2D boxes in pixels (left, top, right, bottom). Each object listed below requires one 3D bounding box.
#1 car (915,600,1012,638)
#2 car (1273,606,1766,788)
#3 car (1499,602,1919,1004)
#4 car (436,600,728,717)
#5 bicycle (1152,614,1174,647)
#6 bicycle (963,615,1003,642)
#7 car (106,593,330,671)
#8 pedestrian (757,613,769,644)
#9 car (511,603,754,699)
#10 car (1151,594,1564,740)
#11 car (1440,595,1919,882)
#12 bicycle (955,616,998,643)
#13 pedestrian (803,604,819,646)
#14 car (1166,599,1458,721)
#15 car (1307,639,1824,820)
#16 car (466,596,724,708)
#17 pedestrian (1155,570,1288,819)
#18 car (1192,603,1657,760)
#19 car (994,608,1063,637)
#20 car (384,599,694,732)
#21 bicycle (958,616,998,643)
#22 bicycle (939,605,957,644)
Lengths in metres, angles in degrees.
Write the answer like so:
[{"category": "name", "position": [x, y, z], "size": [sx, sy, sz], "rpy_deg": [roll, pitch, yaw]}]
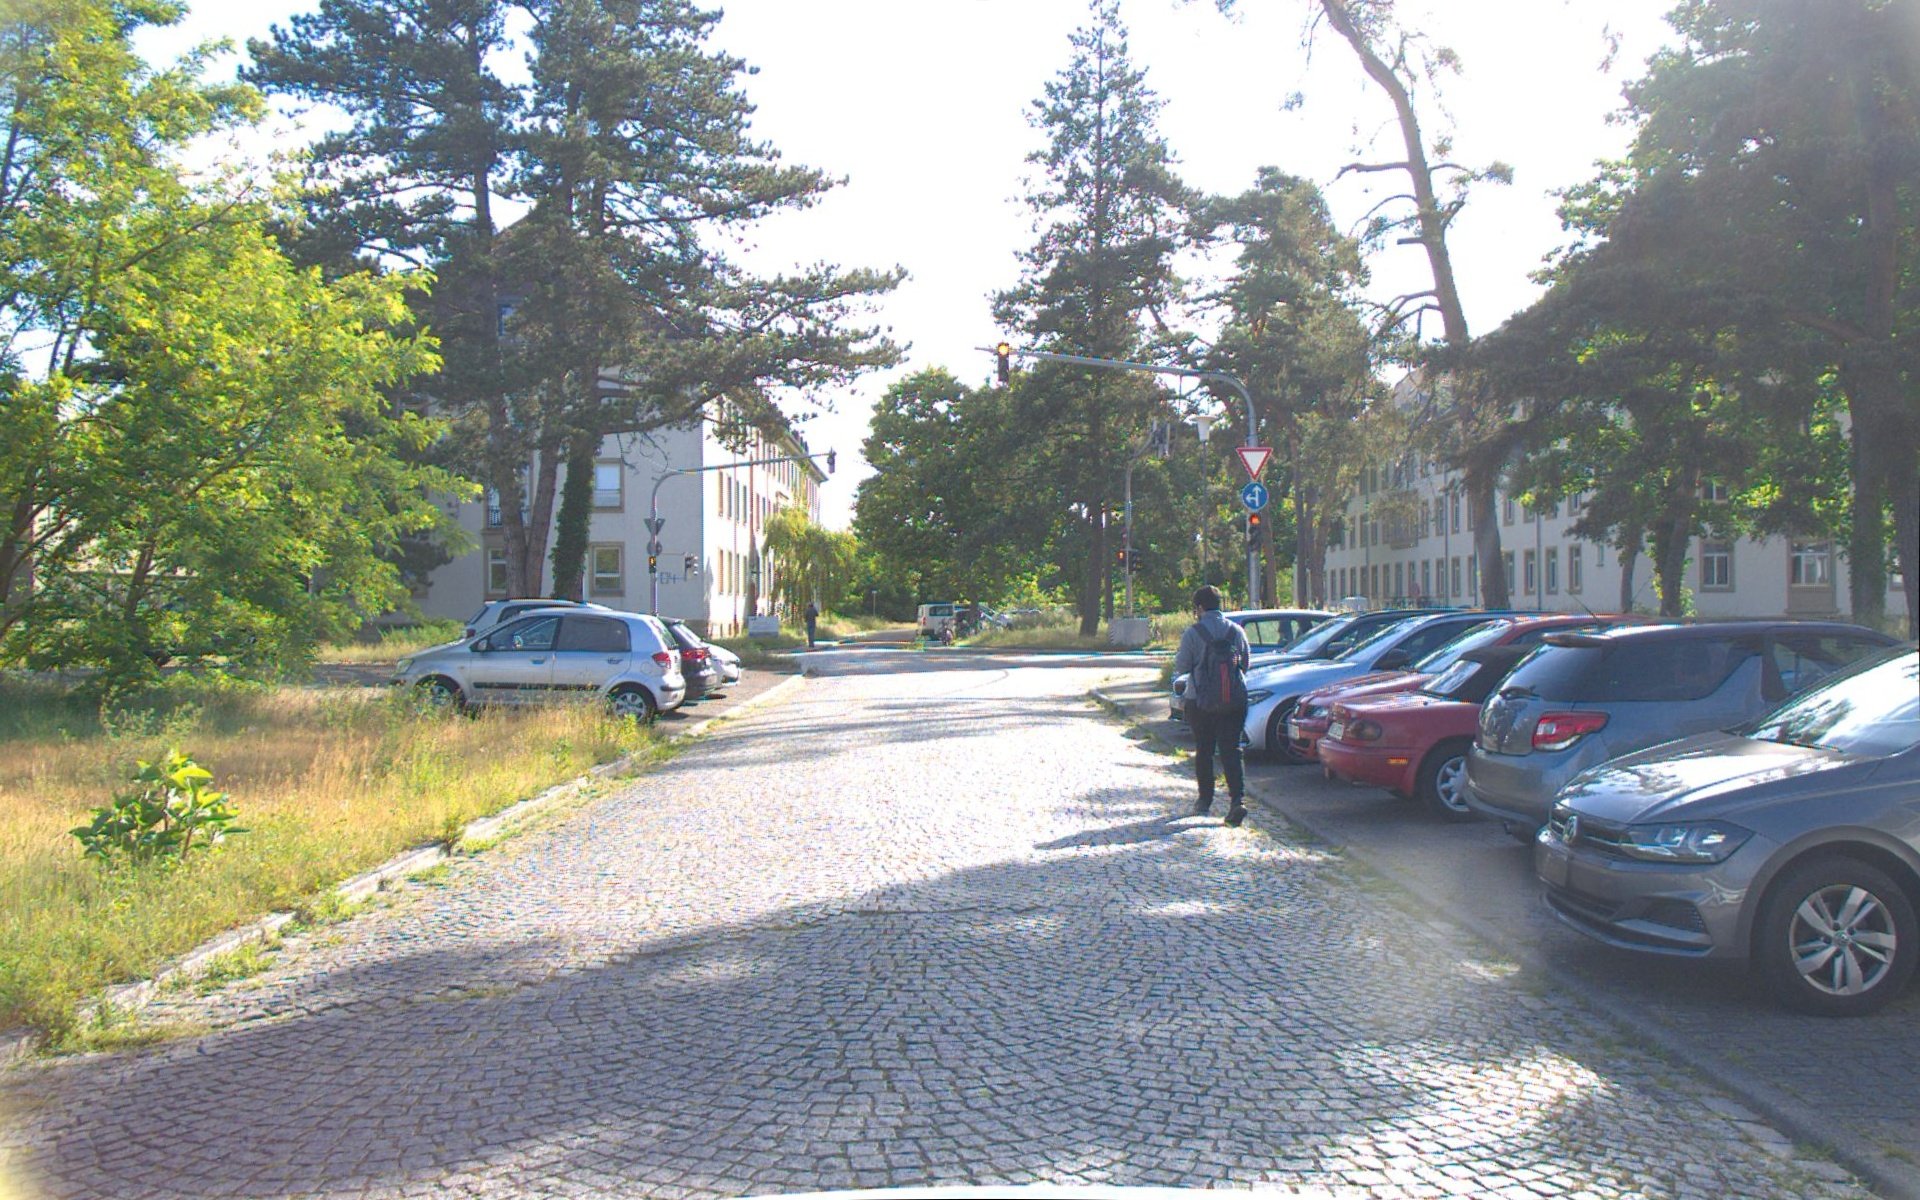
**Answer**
[{"category": "car", "position": [0.151, 1.009, 89.403], "size": [4.975, 1.952, 1.995], "rpy_deg": [0, 0, -10]}, {"category": "car", "position": [4.976, 0.833, 15.051], "size": [3.899, 1.474, 1.655], "rpy_deg": [-1, 0, -1]}, {"category": "car", "position": [4.492, 0.751, 7.189], "size": [3.703, 1.476, 1.758], "rpy_deg": [-2, 0, 1]}, {"category": "car", "position": [-5.470, 0.842, 24.310], "size": [3.858, 1.470, 1.690], "rpy_deg": [3, 0, -2]}, {"category": "bicycle", "position": [7.345, 1.081, 59.728], "size": [0.706, 1.134, 2.585], "rpy_deg": [-1, 0, 9]}, {"category": "bicycle", "position": [1.004, 1.256, 72.755], "size": [1.693, 1.185, 0.560], "rpy_deg": [-1, -1, -4]}, {"category": "car", "position": [-16.435, 0.699, 36.784], "size": [4.059, 1.637, 2.010], "rpy_deg": [-1, 0, 0]}, {"category": "pedestrian", "position": [-10.180, 1.464, 85.290], "size": [0.595, 1.587, 0.544], "rpy_deg": [1, -1, -7]}, {"category": "car", "position": [-5.819, 0.891, 29.685], "size": [3.903, 1.522, 1.773], "rpy_deg": [2, 0, 4]}, {"category": "car", "position": [4.766, 0.778, 20.233], "size": [4.528, 1.481, 1.869], "rpy_deg": [-3, 0, -3]}, {"category": "car", "position": [4.983, 0.759, 10.072], "size": [3.589, 1.480, 1.666], "rpy_deg": [-2, 0, -1]}, {"category": "bicycle", "position": [0.721, 1.286, 71.524], "size": [1.798, 1.132, 0.495], "rpy_deg": [-1, -1, -4]}, {"category": "pedestrian", "position": [-6.332, 1.068, 70.286], "size": [0.594, 1.783, 0.630], "rpy_deg": [0, -1, -1]}, {"category": "car", "position": [4.751, 0.798, 22.645], "size": [3.598, 1.468, 1.665], "rpy_deg": [-2, 0, -1]}, {"category": "car", "position": [4.514, 0.948, 12.653], "size": [3.390, 1.264, 1.536], "rpy_deg": [0, 0, 0]}, {"category": "car", "position": [-5.870, 0.822, 26.917], "size": [3.802, 1.643, 1.660], "rpy_deg": [2, 0, -2]}, {"category": "pedestrian", "position": [1.954, 0.691, 12.460], "size": [0.738, 1.755, 0.828], "rpy_deg": [4, -1, -1]}, {"category": "car", "position": [4.741, 0.812, 17.287], "size": [4.310, 1.413, 1.788], "rpy_deg": [-2, 0, -2]}, {"category": "car", "position": [3.867, 1.234, 93.360], "size": [3.673, 1.607, 1.738], "rpy_deg": [0, 0, -8]}, {"category": "car", "position": [-5.416, 0.834, 21.647], "size": [3.612, 1.554, 1.698], "rpy_deg": [2, -1, -3]}, {"category": "bicycle", "position": [0.782, 1.290, 72.070], "size": [1.693, 1.132, 0.483], "rpy_deg": [-1, -1, -4]}, {"category": "bicycle", "position": [-0.500, 1.002, 68.272], "size": [0.738, 1.608, 2.536], "rpy_deg": [0, 0, -1]}]
